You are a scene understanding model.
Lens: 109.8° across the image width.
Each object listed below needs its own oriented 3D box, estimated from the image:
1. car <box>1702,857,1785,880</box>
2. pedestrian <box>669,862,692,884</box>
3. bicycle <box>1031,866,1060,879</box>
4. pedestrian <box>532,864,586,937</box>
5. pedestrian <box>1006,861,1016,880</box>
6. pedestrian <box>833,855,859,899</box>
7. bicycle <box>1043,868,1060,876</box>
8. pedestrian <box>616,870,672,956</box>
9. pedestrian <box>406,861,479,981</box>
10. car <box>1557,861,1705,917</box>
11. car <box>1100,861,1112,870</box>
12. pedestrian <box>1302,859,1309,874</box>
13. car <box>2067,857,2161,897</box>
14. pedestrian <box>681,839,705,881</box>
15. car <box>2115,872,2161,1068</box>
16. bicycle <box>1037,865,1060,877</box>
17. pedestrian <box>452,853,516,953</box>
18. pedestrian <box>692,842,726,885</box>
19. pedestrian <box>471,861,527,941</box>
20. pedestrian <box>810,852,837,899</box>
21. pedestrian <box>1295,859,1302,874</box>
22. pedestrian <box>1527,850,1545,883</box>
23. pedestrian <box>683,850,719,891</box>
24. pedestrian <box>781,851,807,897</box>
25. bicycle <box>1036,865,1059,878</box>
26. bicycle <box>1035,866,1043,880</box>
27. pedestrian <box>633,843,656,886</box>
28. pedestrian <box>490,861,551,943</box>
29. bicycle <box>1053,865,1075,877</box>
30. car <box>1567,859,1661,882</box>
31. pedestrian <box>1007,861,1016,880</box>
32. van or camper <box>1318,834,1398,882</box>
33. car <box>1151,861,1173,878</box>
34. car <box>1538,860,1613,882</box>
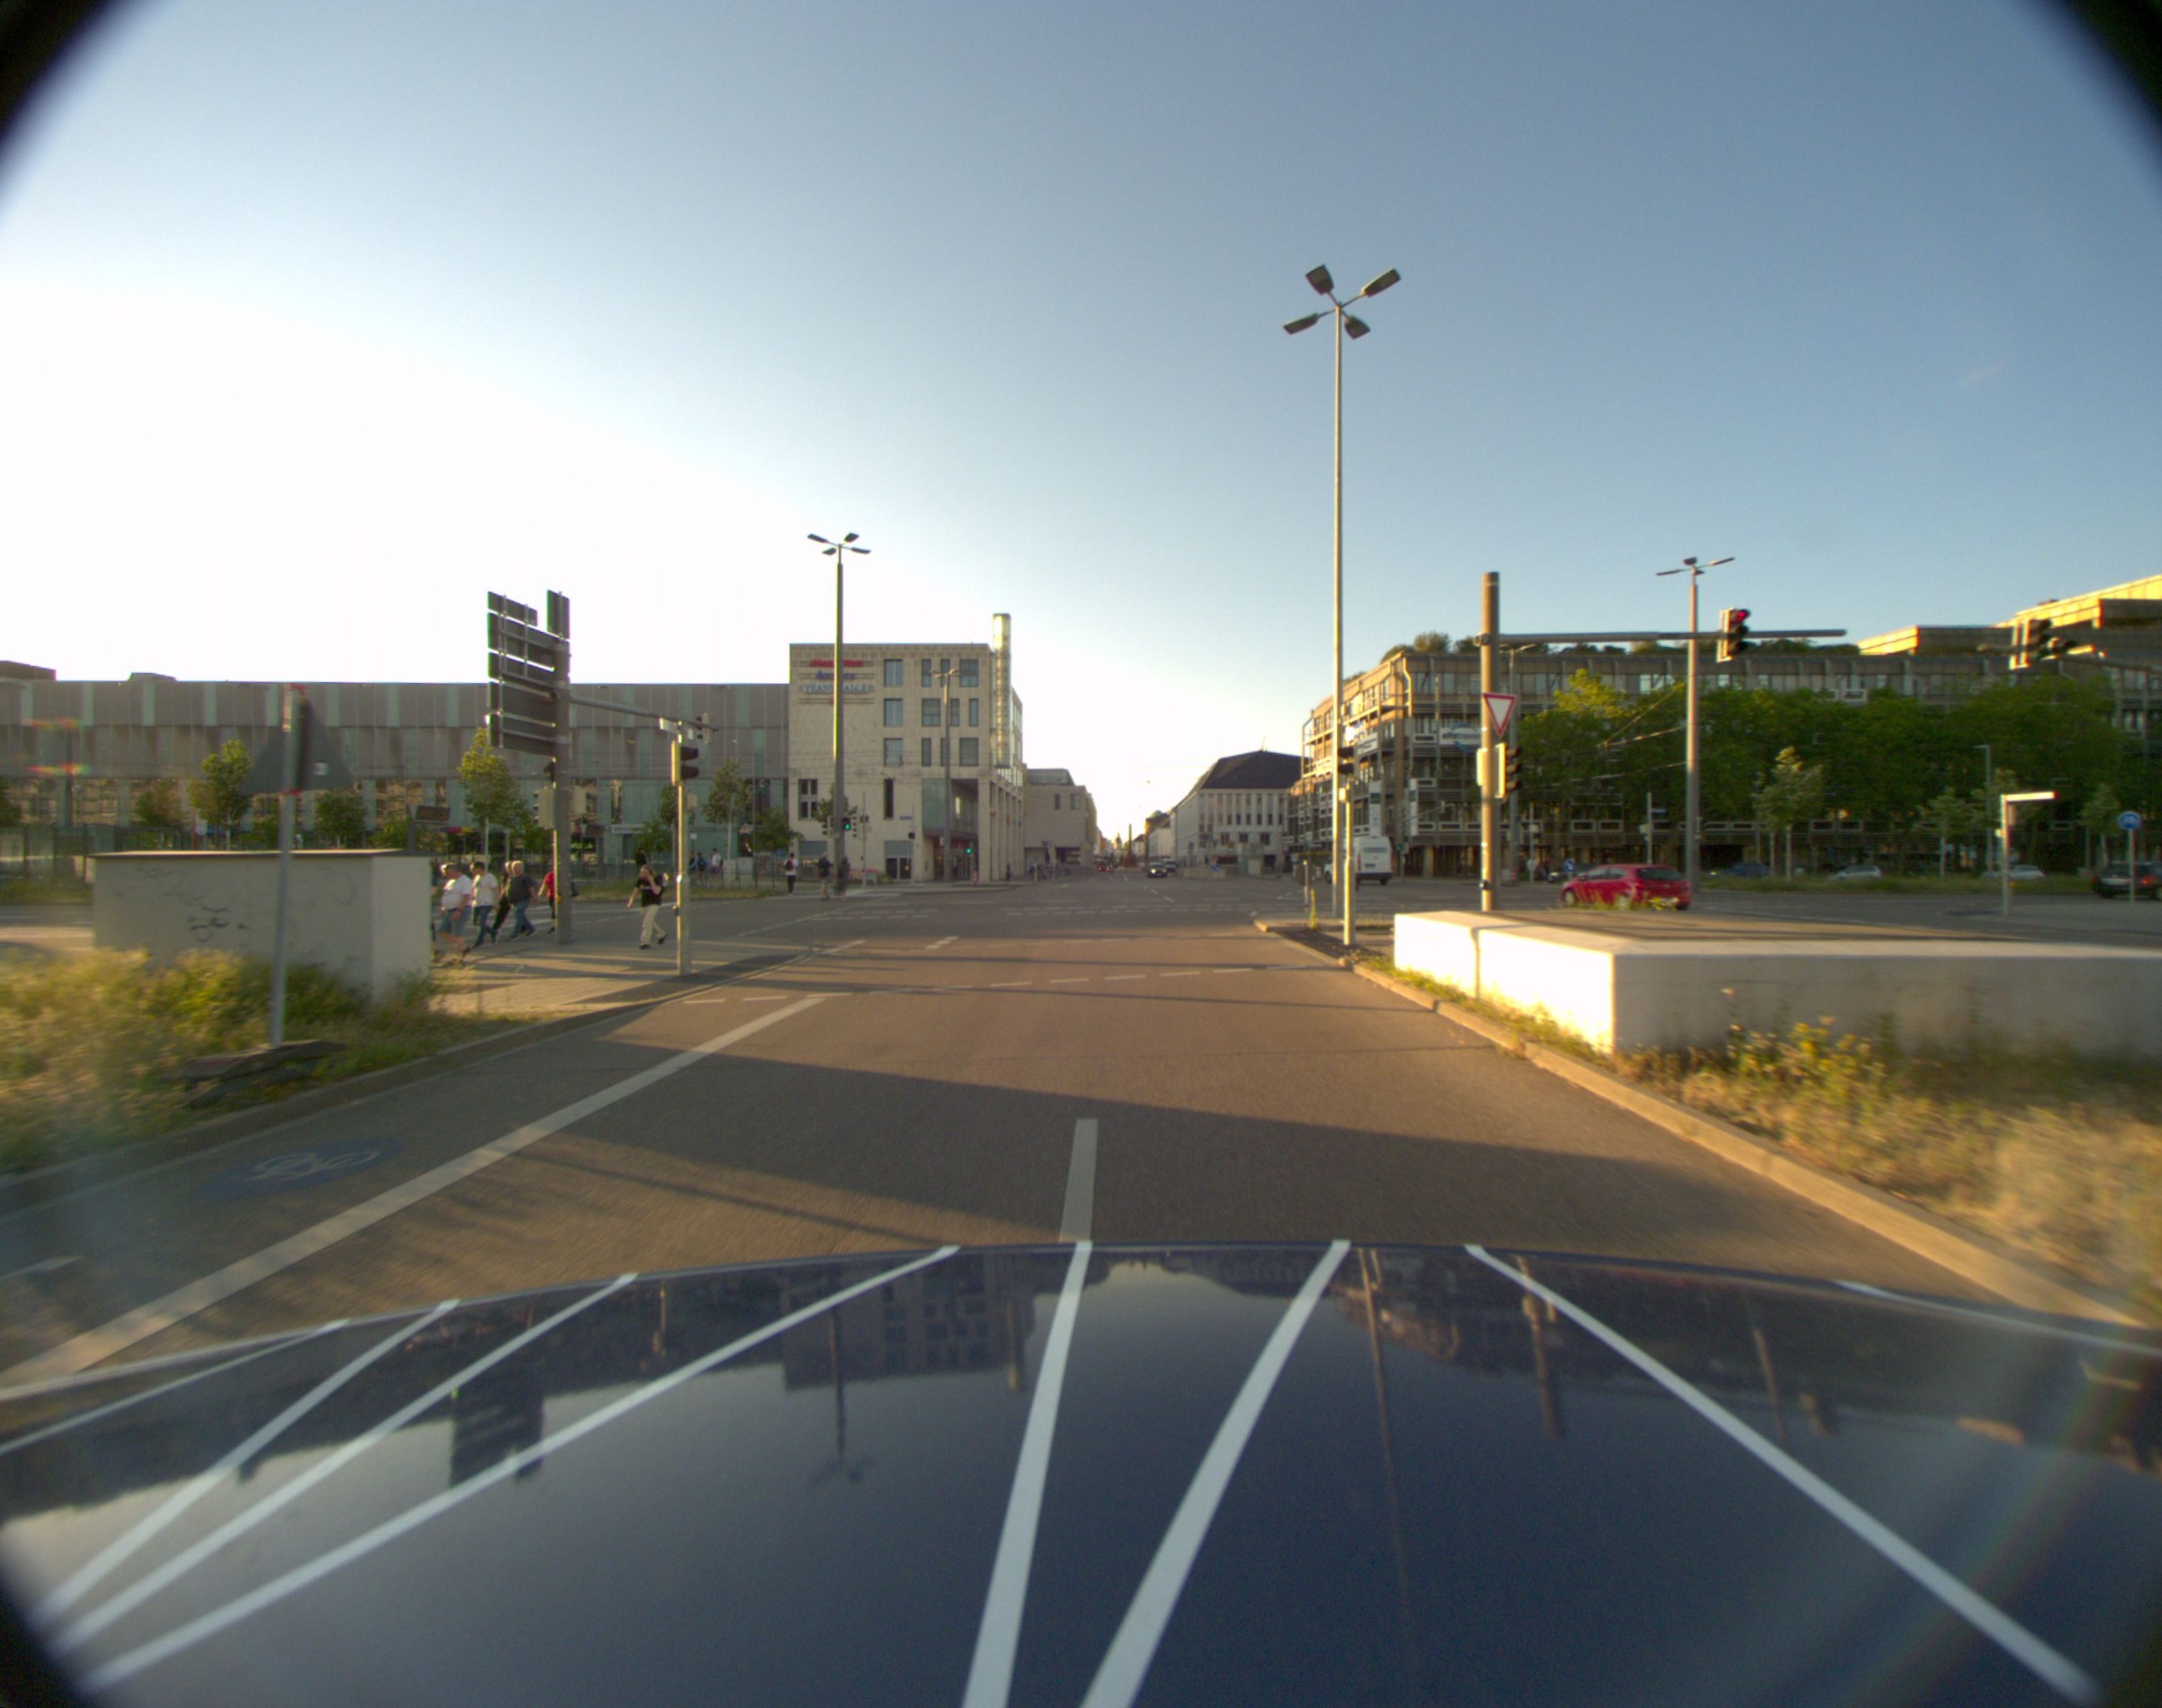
[{"bbox_3d":[46.693,1.011,53.620,3.997,1.641,2.073,0,0,1],"label":"car"},{"bbox_3d":[-17.628,0.839,33.447,0.649,0.957,0.654,0,0,-3],"label":"pedestrian"},{"bbox_3d":[-3.598,1.850,76.291,2.804,1.209,0.765,0,0,12],"label":"bicycle"},{"bbox_3d":[-12.473,1.087,18.173,0.644,1.702,0.871,0,0,4],"label":"pedestrian"},{"bbox_3d":[-6.027,1.421,65.541,0.764,1.696,0.834,0,0,1],"label":"pedestrian"},{"bbox_3d":[-8.787,0.848,28.444,0.644,1.650,0.871,0,1,5],"label":"pedestrian"},{"bbox_3d":[-3.501,2.163,91.627,2.023,1.035,0.509,0,0,0],"label":"bicycle"},{"bbox_3d":[-8.562,1.128,14.915,0.644,1.618,0.870,0,0,-4],"label":"pedestrian"},{"bbox_3d":[-10.503,1.078,12.507,0.644,1.922,0.619,0,1,4],"label":"pedestrian"},{"bbox_3d":[16.713,1.007,23.350,1.639,1.518,3.999,0,0,-1],"label":"car"},{"bbox_3d":[4.795,2.183,145.031,2.071,1.641,4.001,0,0,4],"label":"car"},{"bbox_3d":[24.972,1.368,84.446,0.651,1.702,0.650,0,0,4],"label":"pedestrian"},{"bbox_3d":[43.855,0.909,30.810,4.471,1.543,2.075,0,0,10],"label":"car"},{"bbox_3d":[-17.551,0.275,34.357,0.896,1.843,0.724,1,2,-31],"label":"pedestrian"},{"bbox_3d":[8.973,0.869,3.649,1.891,1.457,4.538,0,0,1],"label":"car"},{"bbox_3d":[-3.548,1.886,83.094,2.507,1.316,0.619,0,1,2],"label":"bicycle"},{"bbox_3d":[-11.996,0.963,15.280,0.644,1.957,0.763,1,0,5],"label":"pedestrian"},{"bbox_3d":[-16.632,0.417,33.959,0.892,1.843,1.007,3,2,15],"label":"pedestrian"},{"bbox_3d":[-13.401,1.076,17.503,0.644,1.735,0.576,8,2,4],"label":"pedestrian"},{"bbox_3d":[-9.639,0.800,28.489,0.644,1.720,0.871,0,1,4],"label":"pedestrian"},{"bbox_3d":[24.173,1.372,84.530,0.645,1.702,0.682,0,0,4],"label":"pedestrian"},{"bbox_3d":[26.584,0.734,44.428,0.644,1.920,0.681,0,1,0],"label":"pedestrian"},{"bbox_3d":[-16.361,0.698,32.711,0.868,1.715,1.009,3,2,29],"label":"pedestrian"},{"bbox_3d":[-11.677,0.806,30.920,0.644,1.803,0.871,0,1,4],"label":"pedestrian"},{"bbox_3d":[-3.578,1.874,81.372,2.507,1.316,0.619,0,1,2],"label":"bicycle"},{"bbox_3d":[-4.080,1.867,74.128,0.618,1.316,2.509,0,0,1],"label":"bicycle"},{"bbox_3d":[-18.677,0.441,32.516,0.604,1.843,0.586,0,1,5],"label":"pedestrian"},{"bbox_3d":[-12.315,1.042,16.721,0.644,1.704,0.762,0,5,4],"label":"pedestrian"},{"bbox_3d":[-1.908,1.962,86.015,2.507,1.316,0.619,0,1,2],"label":"bicycle"},{"bbox_3d":[37.692,1.160,53.817,5.159,1.575,2.000,0,0,2],"label":"car"},{"bbox_3d":[-6.102,1.430,66.616,0.765,1.696,0.834,0,0,-7],"label":"pedestrian"},{"bbox_3d":[16.238,0.279,44.996,2.233,2.650,6.162,0,-1,-3],"label":"van or camper"},{"bbox_3d":[8.186,1.522,77.480,2.071,1.641,4.001,0,0,4],"label":"car"},{"bbox_3d":[36.994,1.264,56.946,4.397,1.641,1.859,0,0,0],"label":"car"}]
